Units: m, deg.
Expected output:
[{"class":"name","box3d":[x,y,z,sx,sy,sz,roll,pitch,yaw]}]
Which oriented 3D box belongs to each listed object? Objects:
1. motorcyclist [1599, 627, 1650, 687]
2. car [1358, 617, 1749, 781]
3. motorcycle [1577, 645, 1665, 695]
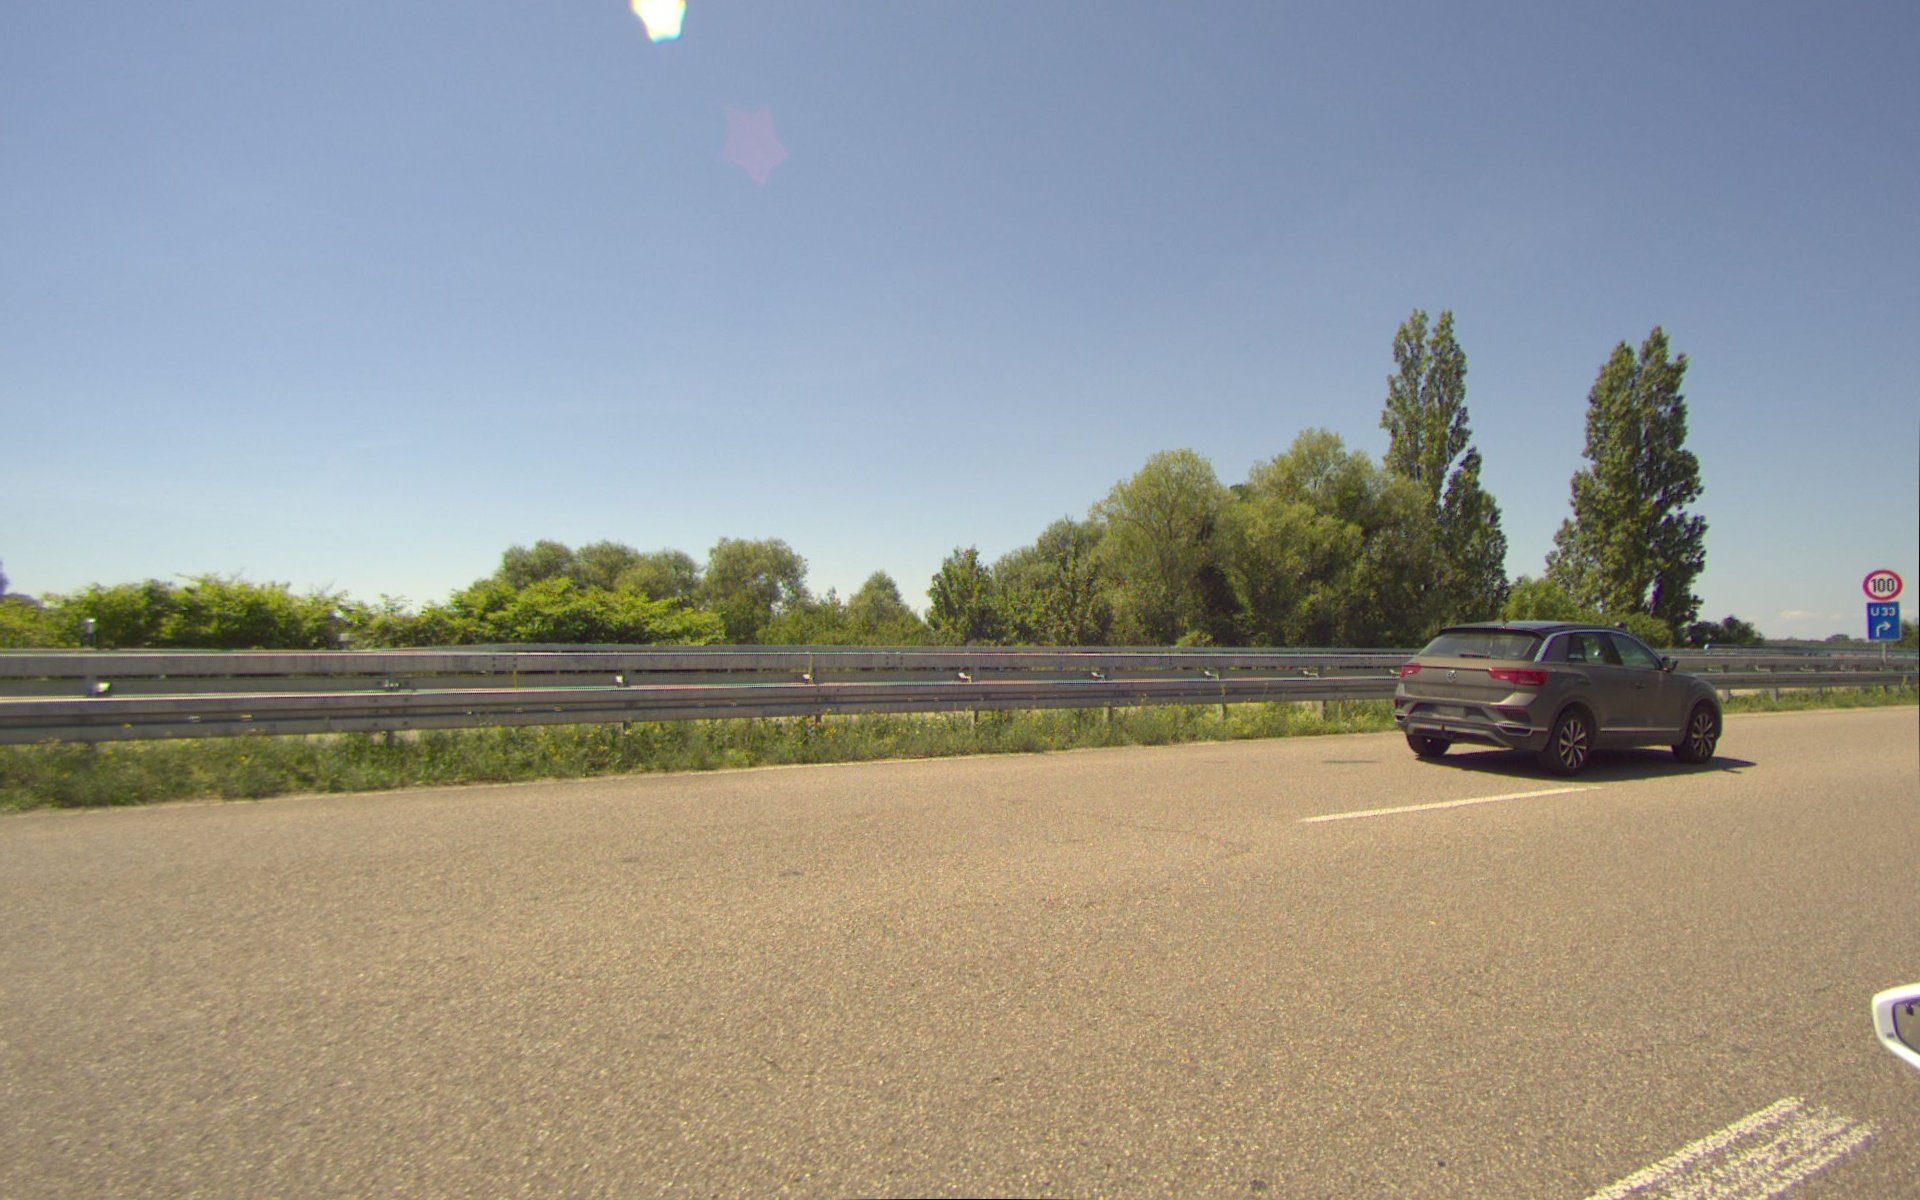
[{"class":"motorcyclist","box3d":[16.389,1.401,24.775,0.758,1.452,0.788,3,-3,-30]},{"class":"car","box3d":[6.806,1.013,11.436,4.414,1.550,1.834,2,-1,-28]},{"class":"motorcycle","box3d":[16.279,1.729,24.714,2.499,1.158,0.787,3,-3,-30]}]
